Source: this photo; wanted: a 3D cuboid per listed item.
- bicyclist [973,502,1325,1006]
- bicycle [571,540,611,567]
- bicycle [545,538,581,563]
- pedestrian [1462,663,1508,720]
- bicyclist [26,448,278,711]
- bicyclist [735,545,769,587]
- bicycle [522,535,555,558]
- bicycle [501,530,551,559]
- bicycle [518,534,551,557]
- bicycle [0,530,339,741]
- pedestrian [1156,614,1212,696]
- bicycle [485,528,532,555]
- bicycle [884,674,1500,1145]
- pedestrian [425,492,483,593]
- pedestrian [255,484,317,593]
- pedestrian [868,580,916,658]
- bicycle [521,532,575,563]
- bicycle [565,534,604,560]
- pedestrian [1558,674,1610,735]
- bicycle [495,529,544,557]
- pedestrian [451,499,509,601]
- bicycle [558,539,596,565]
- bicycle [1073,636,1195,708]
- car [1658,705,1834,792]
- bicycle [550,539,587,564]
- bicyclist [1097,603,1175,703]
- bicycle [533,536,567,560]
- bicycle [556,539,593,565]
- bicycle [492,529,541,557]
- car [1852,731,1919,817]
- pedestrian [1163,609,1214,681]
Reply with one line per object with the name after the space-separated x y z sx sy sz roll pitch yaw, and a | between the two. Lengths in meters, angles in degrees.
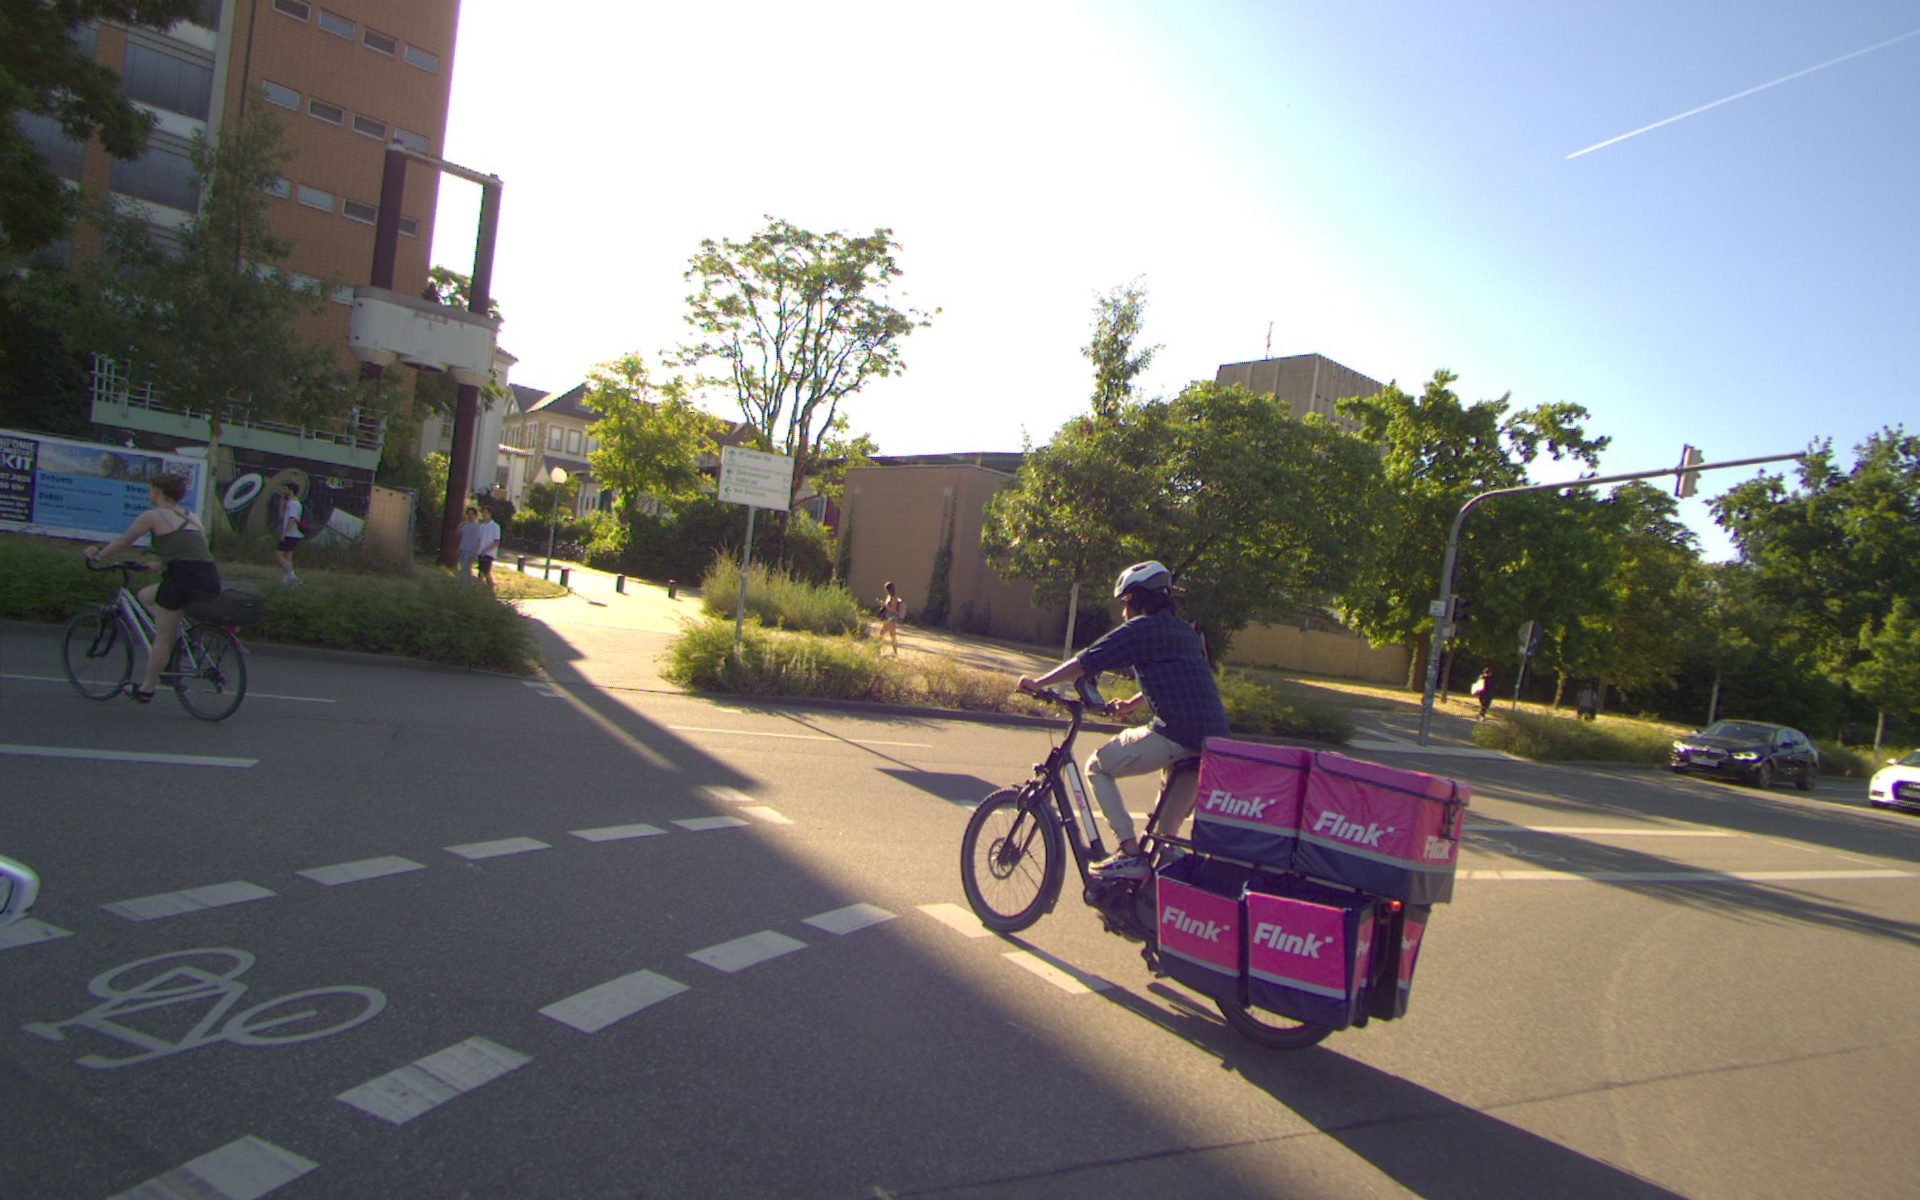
0.785 0.576 4.348 0.774 1.856 1.081 6 0 -39 | bicyclist
-19.512 -2.438 53.215 1.784 1.120 0.495 10 0 -34 | bicycle
-23.449 -2.926 59.375 1.784 1.120 0.495 10 0 -34 | bicycle
15.802 2.762 30.260 0.840 1.563 0.754 6 3 -39 | pedestrian
-5.924 -0.143 7.426 1.072 1.698 0.780 8 2 5 | bicyclist
-8.133 -1.323 39.324 0.614 1.451 0.913 9 0 43 | bicyclist
-26.524 -3.375 63.312 1.784 1.120 0.495 10 0 -34 | bicycle
-28.606 -3.674 66.337 2.856 1.397 0.676 10 0 -34 | bicycle
-27.485 -3.509 64.969 1.784 1.120 0.495 10 0 -34 | bicycle
-5.974 0.237 7.438 2.248 1.170 0.780 8 1 6 | bicycle
5.047 1.234 22.658 0.727 1.735 0.706 6 2 -33 | pedestrian
-32.094 -4.171 71.535 2.856 1.397 0.676 10 0 -34 | bicycle
0.767 1.059 4.320 0.774 1.170 2.553 6 -1 -39 | bicycle
-10.032 -1.126 19.946 0.611 1.893 0.576 8 2 18 | pedestrian
-11.305 -1.031 16.887 0.622 1.721 0.618 7 2 -25 | pedestrian
-1.485 0.414 21.848 0.633 1.594 0.617 6 2 -33 | pedestrian
-25.349 -3.202 61.910 2.856 1.397 0.676 10 0 -34 | bicycle
-20.461 -2.886 54.845 1.784 1.120 0.495 10 0 -34 | bicycle
20.352 3.402 32.805 0.843 1.772 1.007 6 3 -39 | pedestrian
-29.765 -3.840 67.983 2.856 1.397 0.676 10 0 -34 | bicycle
-9.422 -0.971 19.759 0.611 1.893 0.576 8 2 18 | pedestrian
-21.412 -2.684 56.253 1.784 1.120 0.495 10 0 -34 | bicycle
3.528 1.458 20.330 2.262 1.170 0.776 8 1 -24 | bicycle
18.432 3.488 23.569 3.957 1.538 1.789 7 1 -30 | car
-22.629 -2.808 58.188 1.784 1.120 0.495 10 0 -34 | bicycle
3.542 1.061 20.306 1.079 1.854 0.776 7 2 -24 | bicyclist
-24.960 -3.148 61.255 1.784 1.120 0.495 10 0 -34 | bicycle
-21.814 -2.714 56.947 1.784 1.120 0.495 10 0 -34 | bicycle
-30.251 -3.910 68.690 2.856 1.397 0.676 10 0 -34 | bicycle
20.977 3.794 21.260 4.384 1.538 1.789 7 1 -30 | car
5.859 1.157 25.772 0.870 1.726 0.669 6 2 -38 | pedestrian
